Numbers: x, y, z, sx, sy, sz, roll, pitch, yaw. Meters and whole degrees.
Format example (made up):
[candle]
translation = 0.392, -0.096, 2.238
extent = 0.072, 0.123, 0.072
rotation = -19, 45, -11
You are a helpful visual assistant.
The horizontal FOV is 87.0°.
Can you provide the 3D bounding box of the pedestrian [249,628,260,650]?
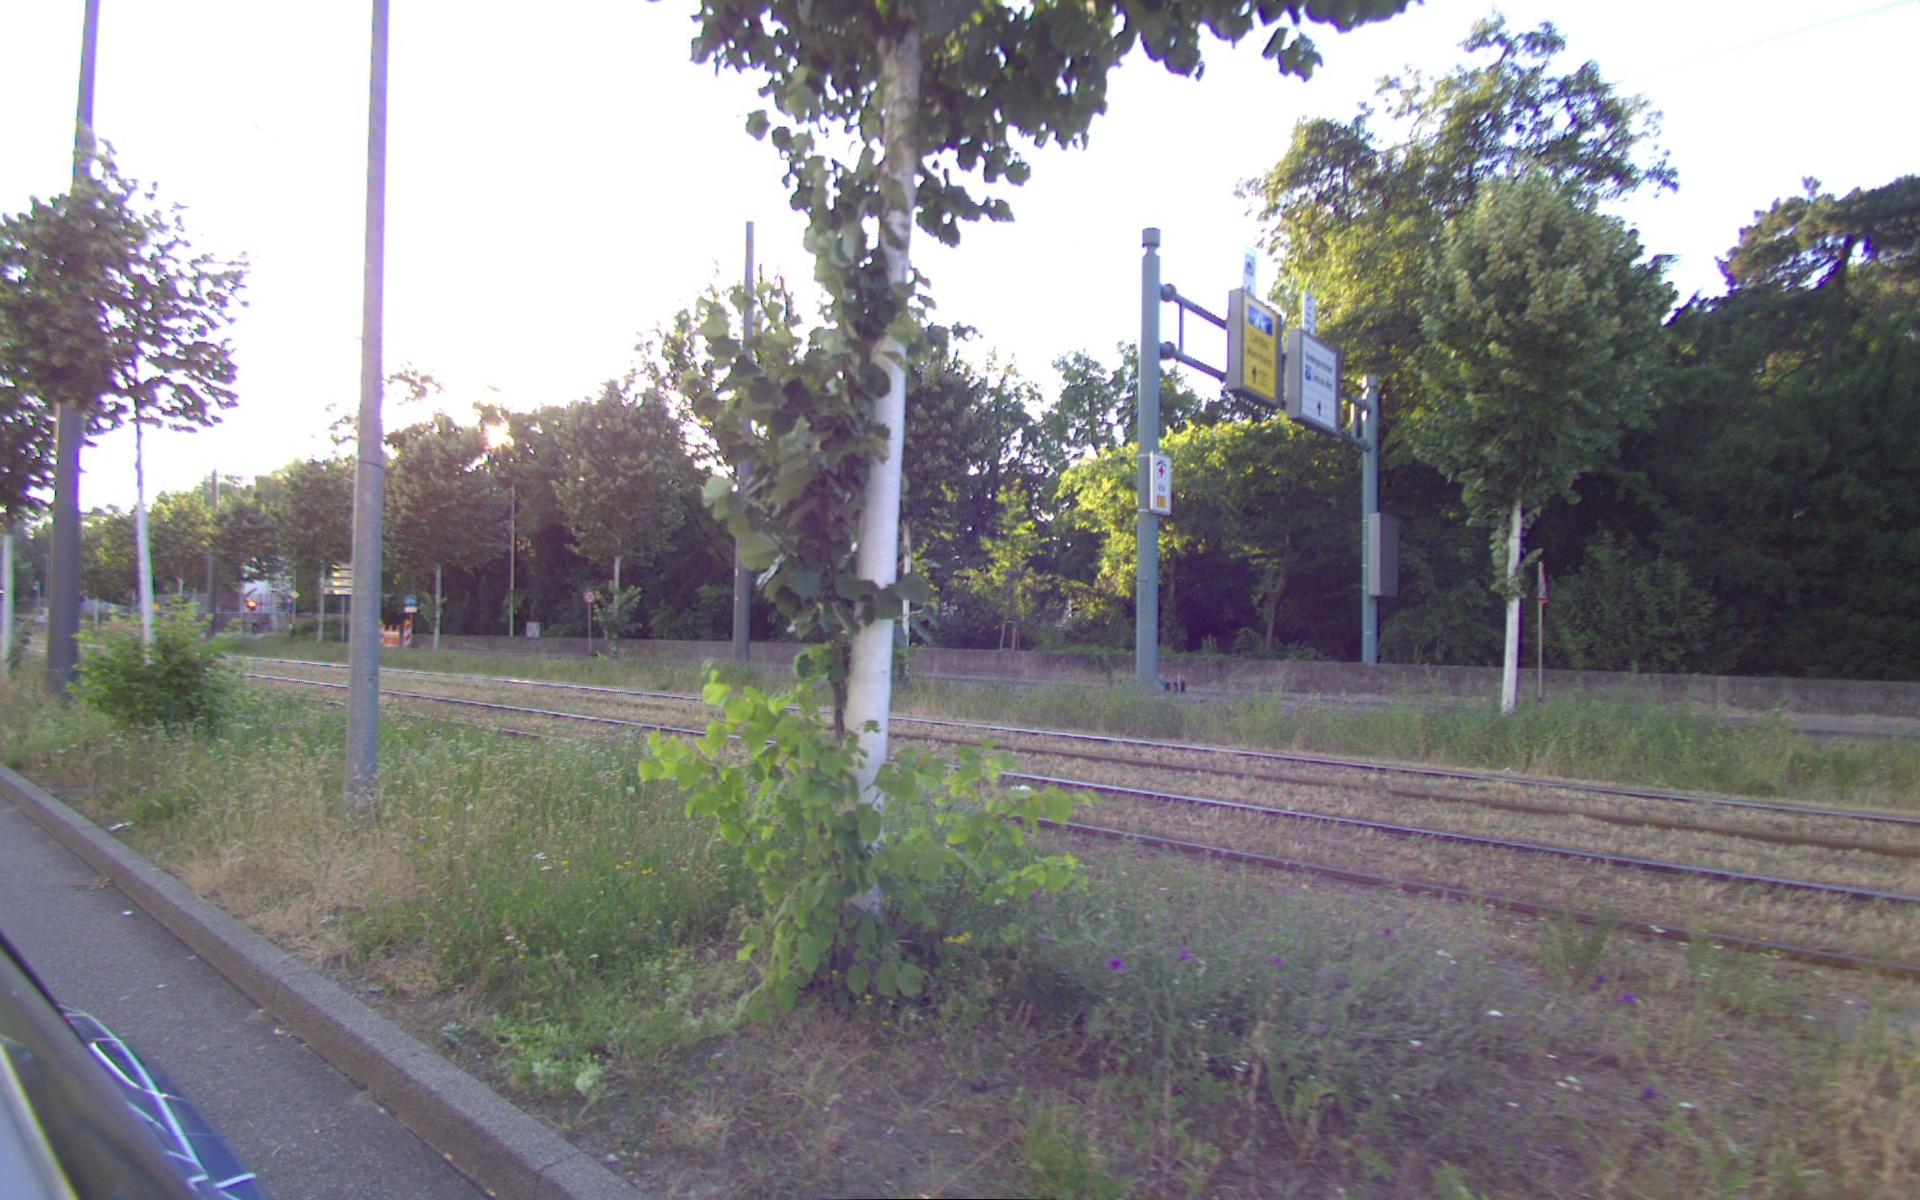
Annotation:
[pedestrian]
translation = -53.484, 2.964, 76.704
extent = 0.660, 1.620, 0.679
rotation = -1, -4, -37
